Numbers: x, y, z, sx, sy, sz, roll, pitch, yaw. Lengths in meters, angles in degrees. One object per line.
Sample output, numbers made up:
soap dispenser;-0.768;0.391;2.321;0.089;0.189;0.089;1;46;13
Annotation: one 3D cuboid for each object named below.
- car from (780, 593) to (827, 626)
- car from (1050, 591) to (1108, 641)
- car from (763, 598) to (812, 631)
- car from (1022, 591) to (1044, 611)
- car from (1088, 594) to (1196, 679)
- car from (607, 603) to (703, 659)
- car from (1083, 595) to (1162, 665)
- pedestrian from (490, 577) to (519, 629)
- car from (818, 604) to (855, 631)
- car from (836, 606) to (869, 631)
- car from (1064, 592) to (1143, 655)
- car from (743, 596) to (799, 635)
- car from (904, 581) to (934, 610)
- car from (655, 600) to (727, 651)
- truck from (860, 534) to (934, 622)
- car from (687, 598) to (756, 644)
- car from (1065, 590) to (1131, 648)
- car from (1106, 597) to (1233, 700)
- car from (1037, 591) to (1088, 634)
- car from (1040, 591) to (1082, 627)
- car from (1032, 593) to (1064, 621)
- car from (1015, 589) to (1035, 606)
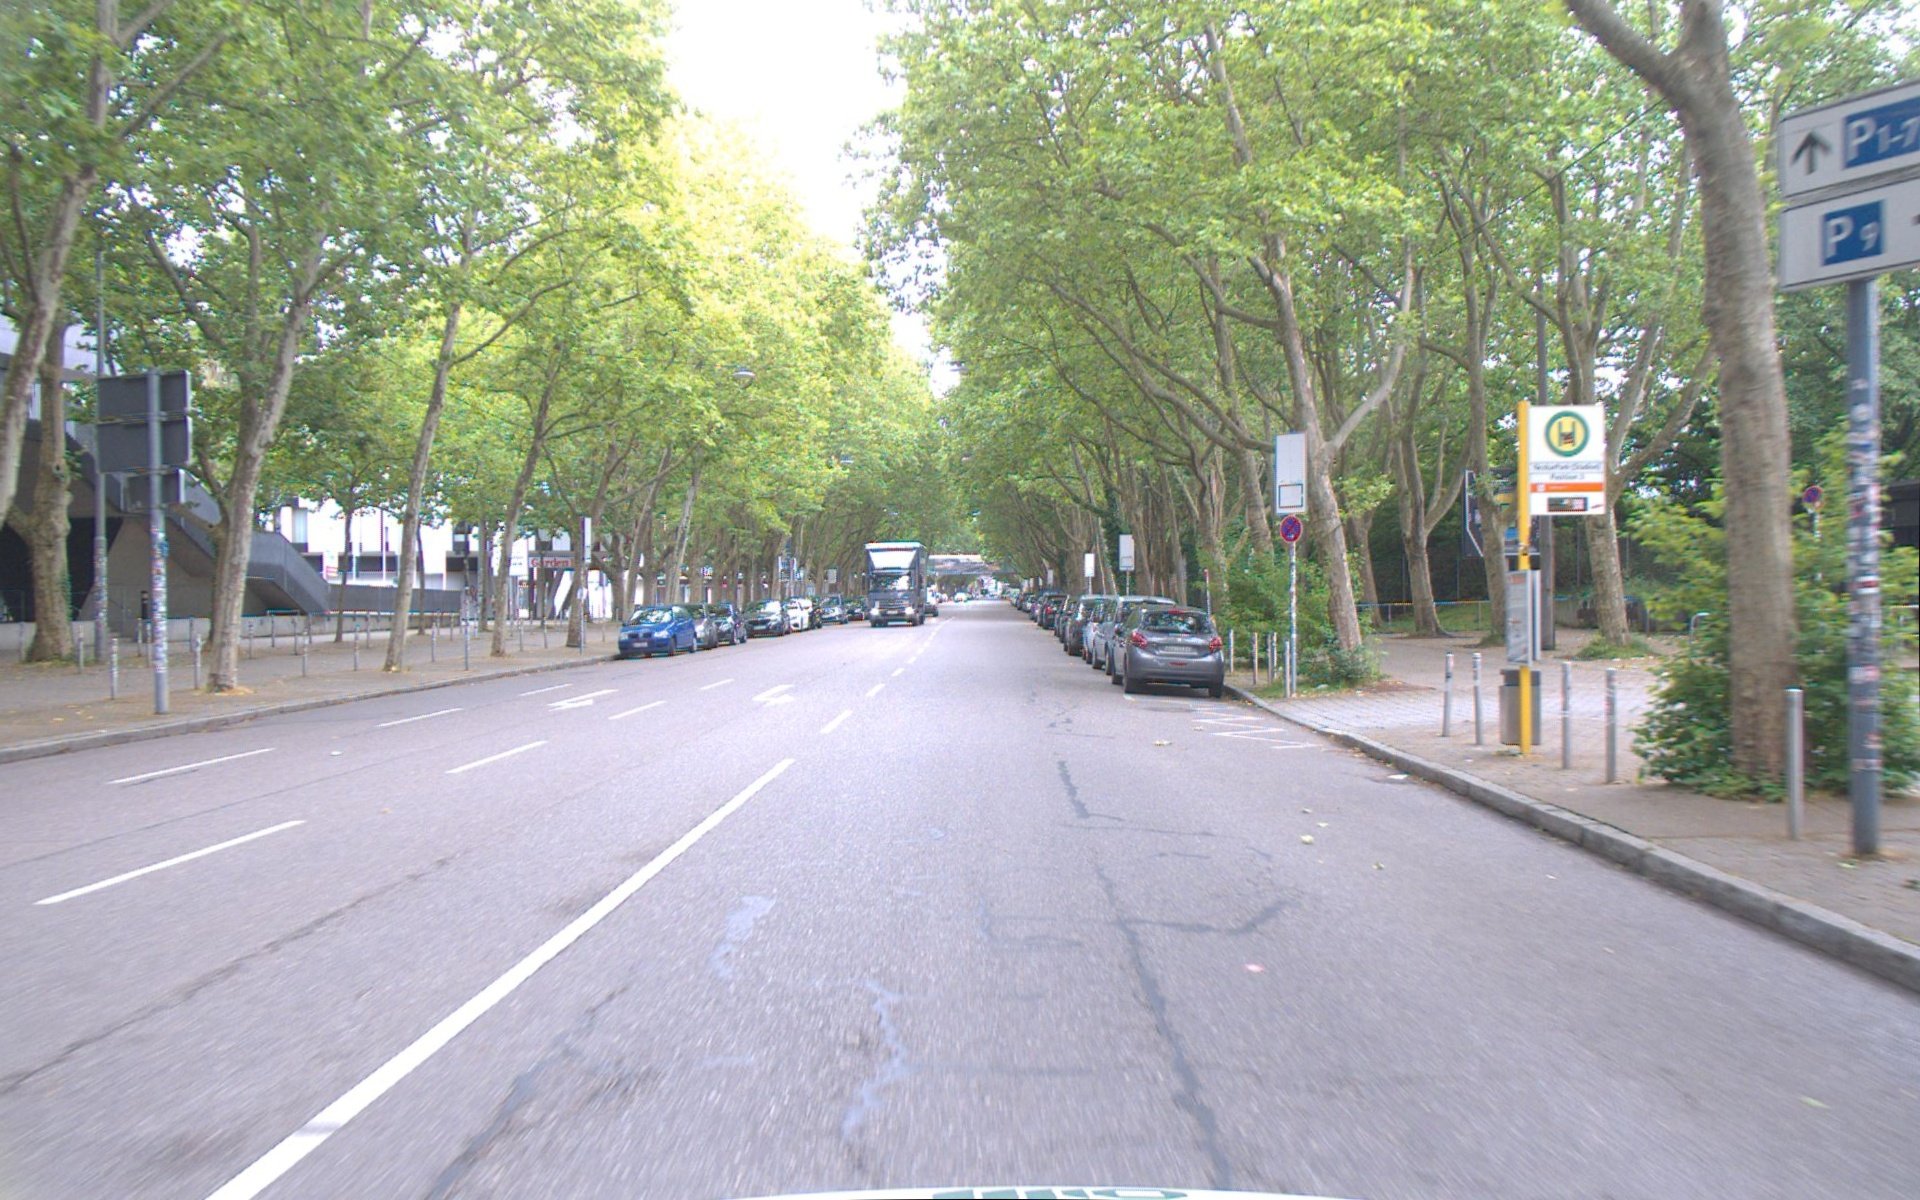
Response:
car;-7.523;0.498;79.901;1.856;1.463;3.999;-2;-1;-1
car;4.013;0.527;56.311;1.720;1.561;3.929;2;0;1
car;-7.710;0.675;74.187;1.697;1.355;4.000;-2;-1;0
car;6.013;0.090;136.721;1.720;1.561;3.929;-2;0;1
car;3.775;0.715;34.949;1.684;1.594;4.093;3;0;-1
car;-8.681;0.865;47.329;1.659;1.443;3.763;-3;-1;5
car;3.885;0.698;39.973;1.641;1.516;3.688;3;0;3
pedestrian;-16.291;0.105;59.159;0.763;1.867;0.868;0;0;-33
car;-7.015;1.021;94.247;1.856;1.463;3.999;-2;-1;-1
car;-6.929;1.217;106.836;1.856;1.463;3.999;-2;-1;-1
car;3.820;0.602;44.676;1.720;1.516;4.417;3;0;1
car;-7.630;0.629;67.043;1.729;1.443;3.761;-3;-1;1
car;-2.800;-0.311;113.398;1.939;1.967;4.113;0;0;1
car;-8.464;0.818;52.276;1.730;1.443;3.759;-3;-1;-2
truck;-2.998;-1.028;81.382;2.586;3.970;9.544;-2;0;3
car;-8.192;0.728;57.122;1.729;1.443;3.761;-3;-1;1
car;4.166;0.550;50.440;1.720;1.625;3.929;2;0;1
car;3.609;0.786;29.191;1.664;1.545;4.454;3;1;1
car;3.912;0.464;63.552;1.720;1.561;3.929;2;0;1
car;4.585;0.410;75.546;1.720;1.561;3.929;2;0;1
car;5.040;0.371;95.090;1.720;1.561;3.929;0;0;1
car;6.229;-0.203;158.402;1.720;1.561;3.929;2;0;1
